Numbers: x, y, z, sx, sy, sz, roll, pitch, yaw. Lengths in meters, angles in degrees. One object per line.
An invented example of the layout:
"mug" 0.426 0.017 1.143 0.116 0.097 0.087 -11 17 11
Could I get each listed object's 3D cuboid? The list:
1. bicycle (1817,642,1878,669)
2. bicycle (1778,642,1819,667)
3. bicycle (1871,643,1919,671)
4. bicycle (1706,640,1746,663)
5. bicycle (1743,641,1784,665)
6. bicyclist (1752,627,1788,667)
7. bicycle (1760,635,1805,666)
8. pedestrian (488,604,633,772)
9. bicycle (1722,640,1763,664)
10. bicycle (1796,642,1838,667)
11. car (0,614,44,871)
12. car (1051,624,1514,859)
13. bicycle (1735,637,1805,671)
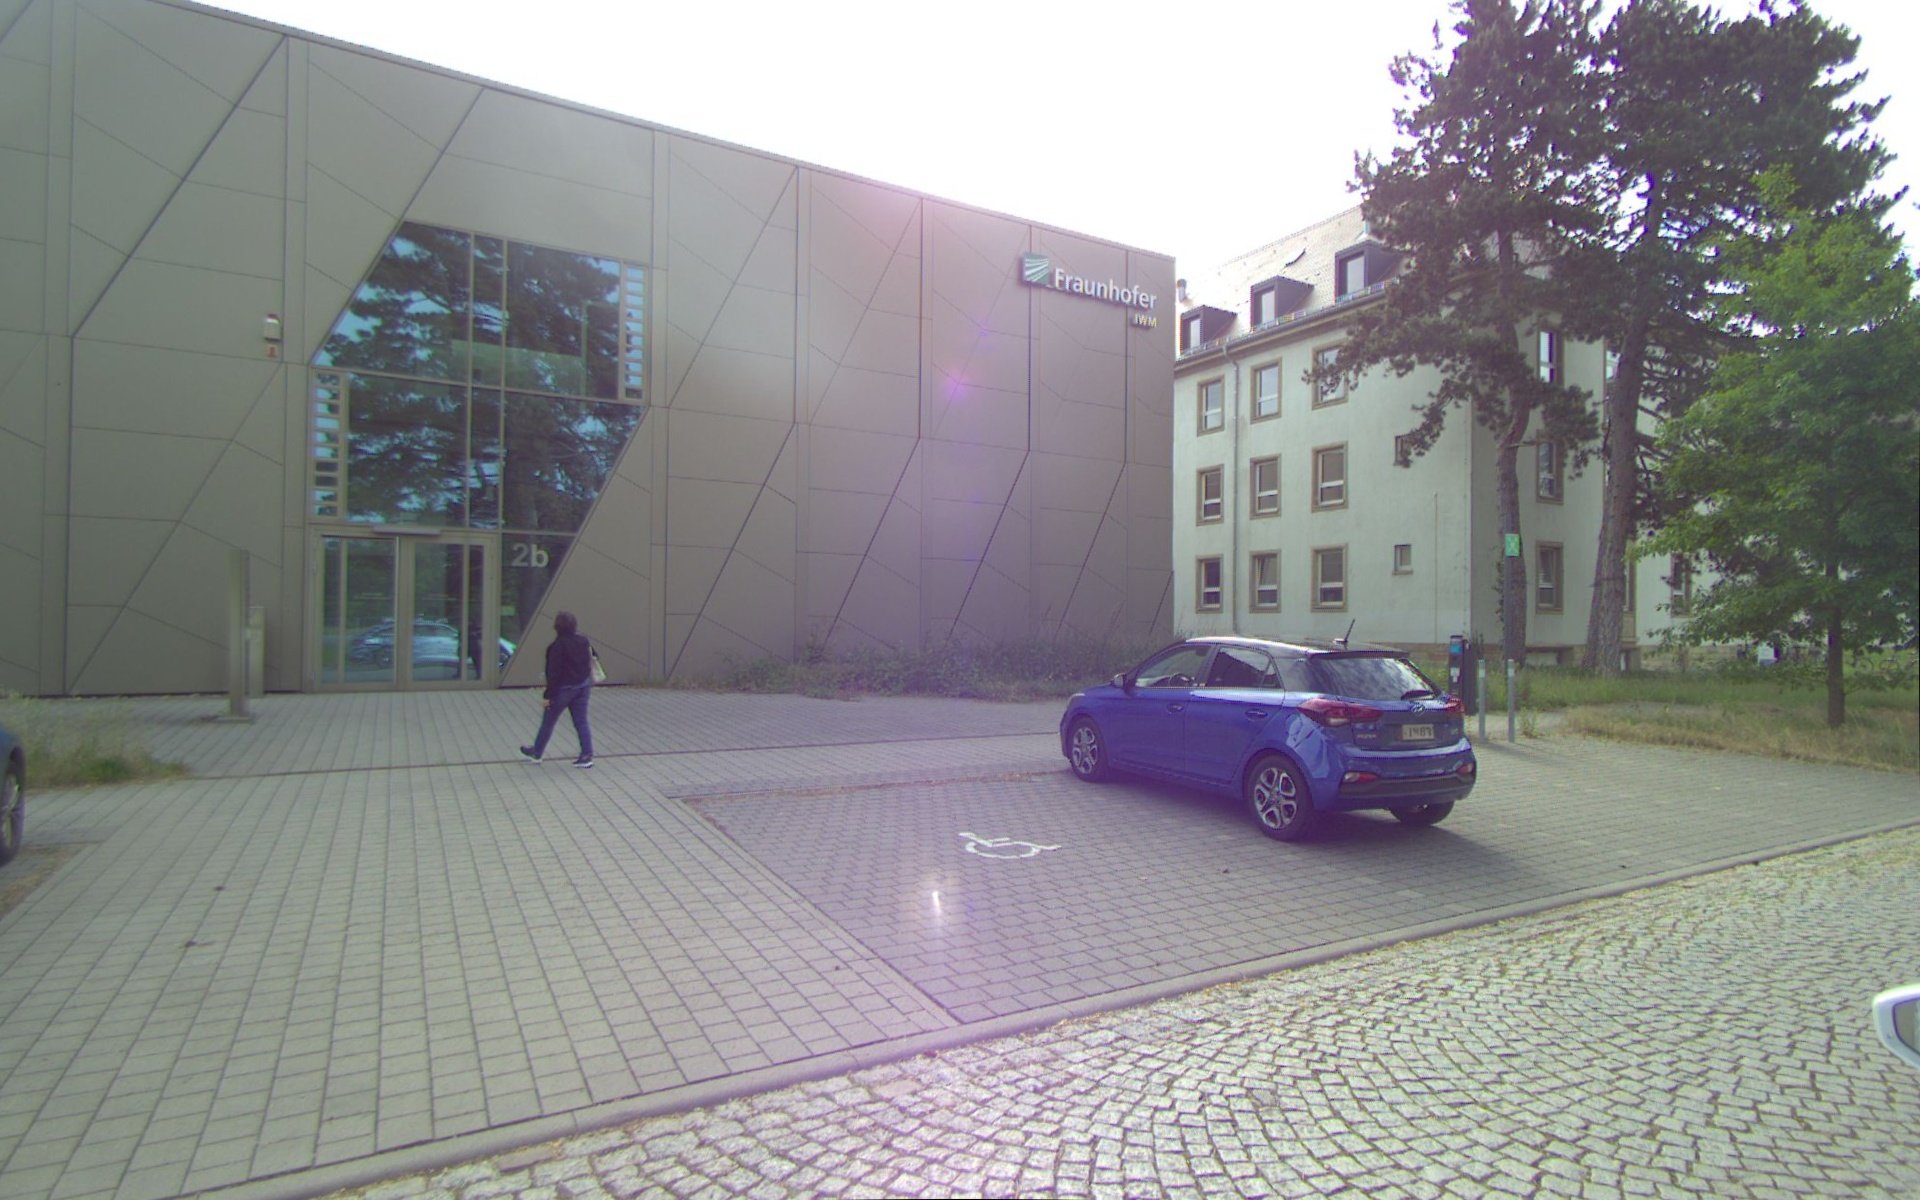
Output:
"bicycle" 38.344 2.391 43.439 0.729 1.090 1.849 1 -2 -27
"bicycle" 38.315 2.473 45.884 2.246 1.090 0.732 1 -2 -30
"bicycle" 39.287 2.368 41.812 0.821 1.090 1.849 1 -2 -27
"bicycle" 36.942 2.480 48.459 2.246 1.090 0.732 1 -2 -30
"bicycle" 37.966 2.495 47.466 2.246 1.090 0.732 1 -2 -30
"bicyclist" 35.050 2.022 43.456 0.945 1.719 0.917 2 -2 -27
"bicycle" 38.260 2.345 46.714 2.679 1.404 0.732 1 -2 -30
"pedestrian" -3.831 0.816 9.685 0.966 1.514 0.819 1 -1 13
"bicycle" 37.234 2.468 47.783 2.246 1.090 0.732 1 -2 -30
"bicycle" 38.692 2.457 45.365 2.246 1.090 0.732 1 -2 -30
"car" -5.575 0.815 4.260 1.755 1.447 4.280 1 0 -33
"car" 2.579 1.022 8.941 1.828 1.497 3.752 1 0 -27
"bicycle" 35.032 2.339 43.480 0.927 1.405 2.171 1 -2 -27
